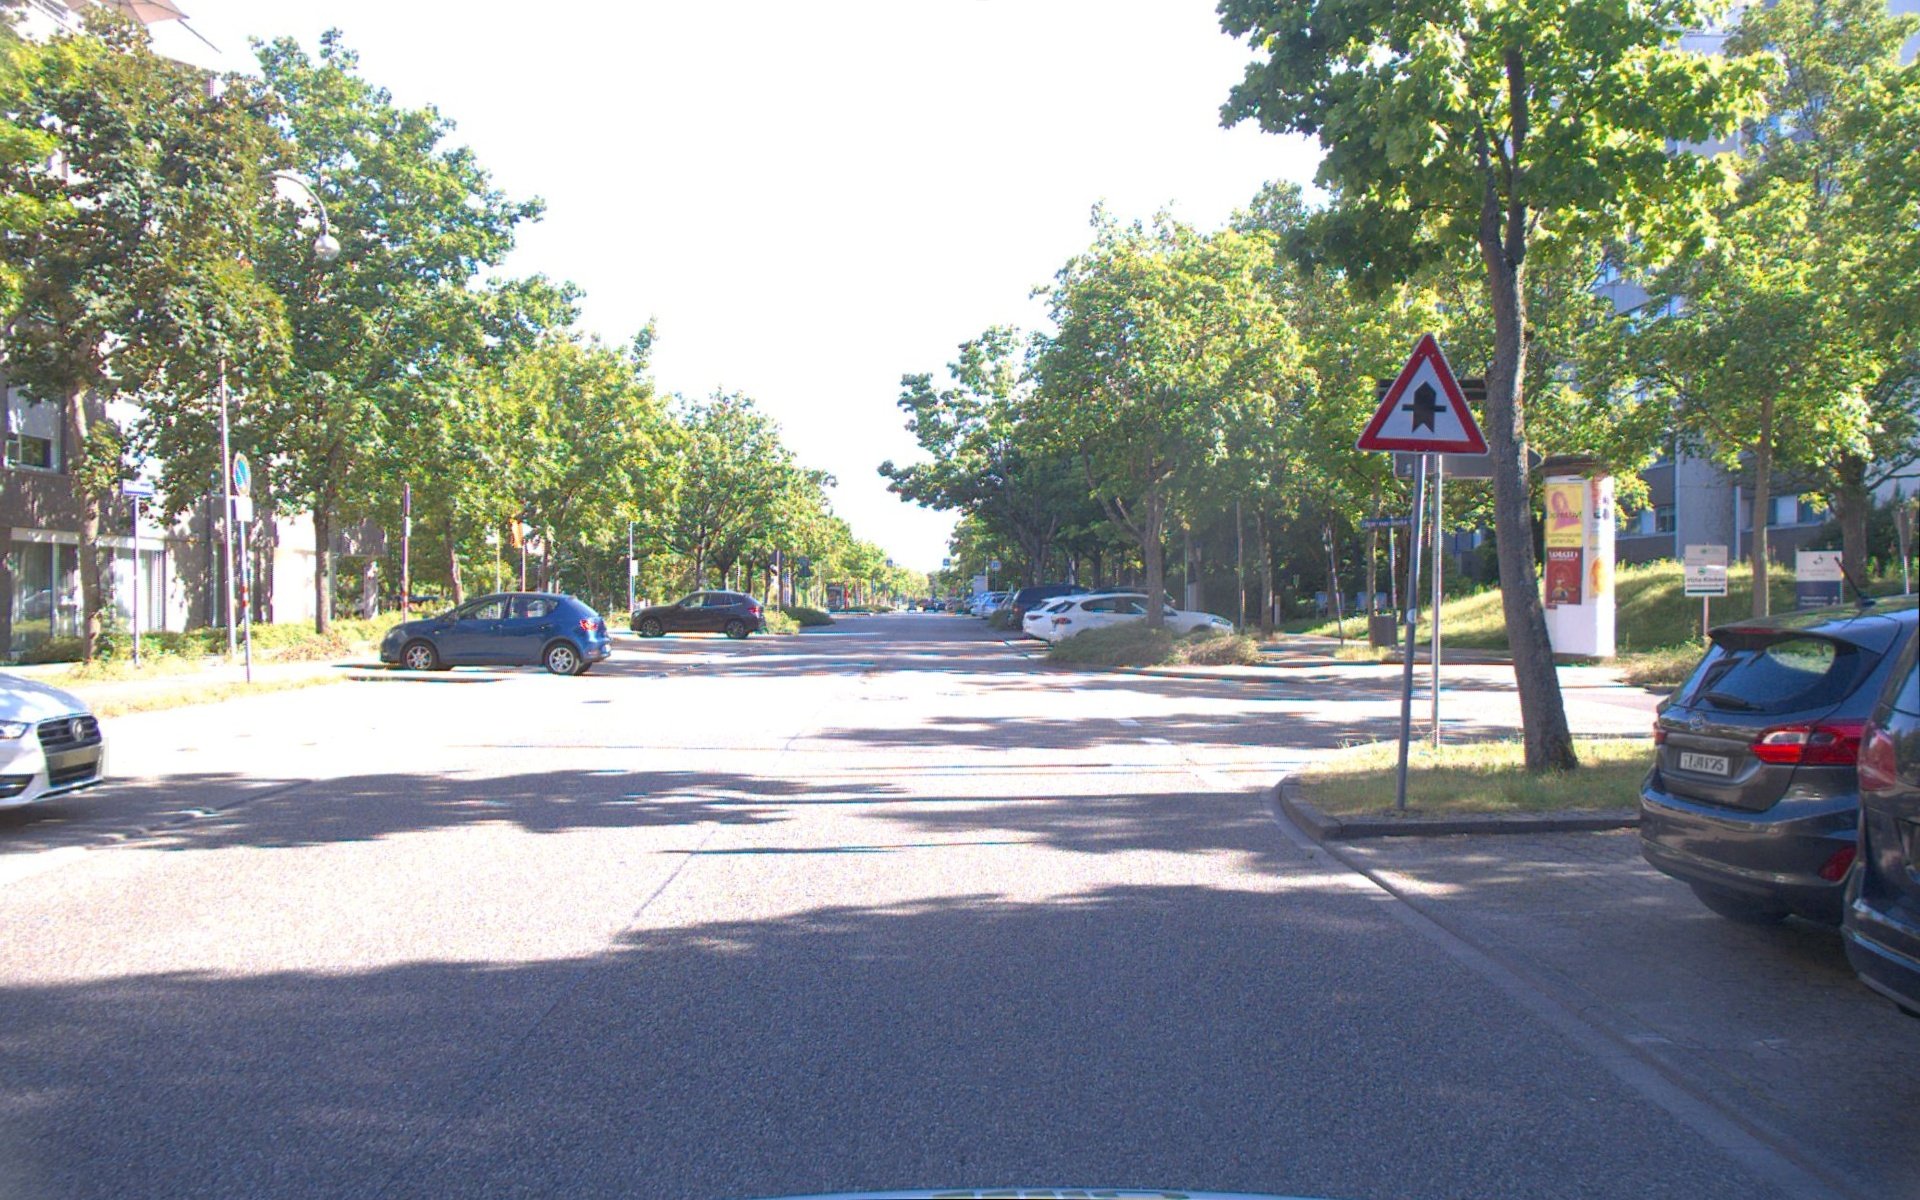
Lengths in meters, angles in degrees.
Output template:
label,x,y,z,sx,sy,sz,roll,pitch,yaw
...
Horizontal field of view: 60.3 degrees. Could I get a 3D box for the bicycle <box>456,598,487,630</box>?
label,x,y,z,sx,sy,sz,roll,pitch,yaw
bicycle,-16.695,0.462,56.514,0.428,1.066,2.192,1,0,-1

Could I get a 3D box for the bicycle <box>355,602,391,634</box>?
label,x,y,z,sx,sy,sz,roll,pitch,yaw
bicycle,-19.564,0.587,55.148,0.428,1.066,2.192,1,0,-1

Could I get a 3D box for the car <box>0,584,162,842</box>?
label,x,y,z,sx,sy,sz,roll,pitch,yaw
car,-7.593,0.648,10.479,4.172,1.506,1.799,0,0,-2

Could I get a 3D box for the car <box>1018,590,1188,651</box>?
label,x,y,z,sx,sy,sz,roll,pitch,yaw
car,3.814,0.538,44.639,4.354,1.572,1.816,1,0,-4

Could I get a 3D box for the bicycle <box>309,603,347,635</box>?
label,x,y,z,sx,sy,sz,roll,pitch,yaw
bicycle,-21.012,0.622,55.042,0.428,1.066,2.192,1,0,-1

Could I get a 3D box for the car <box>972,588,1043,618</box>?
label,x,y,z,sx,sy,sz,roll,pitch,yaw
car,3.023,0.190,105.788,4.347,1.676,1.815,-3,0,-3

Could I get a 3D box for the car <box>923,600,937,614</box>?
label,x,y,z,sx,sy,sz,roll,pitch,yaw
car,-4.479,1.026,246.962,1.953,2.049,4.000,1,1,-1

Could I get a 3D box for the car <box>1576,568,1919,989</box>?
label,x,y,z,sx,sy,sz,roll,pitch,yaw
car,4.856,0.599,7.147,3.760,1.471,1.591,-3,2,-4

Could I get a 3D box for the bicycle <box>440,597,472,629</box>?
label,x,y,z,sx,sy,sz,roll,pitch,yaw
bicycle,-17.203,0.444,56.512,0.428,1.066,2.192,1,0,-1

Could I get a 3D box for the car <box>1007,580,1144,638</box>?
label,x,y,z,sx,sy,sz,roll,pitch,yaw
car,3.935,0.307,56.720,4.494,1.810,2.000,-2,0,-1

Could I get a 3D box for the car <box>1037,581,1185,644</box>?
label,x,y,z,sx,sy,sz,roll,pitch,yaw
car,4.331,0.370,47.882,4.036,1.646,1.732,-2,-1,-3

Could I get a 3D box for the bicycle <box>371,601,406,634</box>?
label,x,y,z,sx,sy,sz,roll,pitch,yaw
bicycle,-19.039,0.583,55.159,0.428,1.066,2.192,1,0,-1

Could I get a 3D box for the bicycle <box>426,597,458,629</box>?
label,x,y,z,sx,sy,sz,roll,pitch,yaw
bicycle,-17.688,0.429,56.518,0.428,1.066,2.192,1,0,-1

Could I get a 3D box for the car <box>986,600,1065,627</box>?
label,x,y,z,sx,sy,sz,roll,pitch,yaw
car,3.538,0.729,89.134,4.185,1.453,1.828,0,0,3

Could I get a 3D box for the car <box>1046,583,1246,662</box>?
label,x,y,z,sx,sy,sz,roll,pitch,yaw
car,4.285,0.508,38.578,4.339,1.620,1.835,-2,0,-4

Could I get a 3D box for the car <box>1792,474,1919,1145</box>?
label,x,y,z,sx,sy,sz,roll,pitch,yaw
car,4.329,0.517,4.142,3.596,1.781,1.724,-1,0,1

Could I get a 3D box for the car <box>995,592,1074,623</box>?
label,x,y,z,sx,sy,sz,roll,pitch,yaw
car,3.803,0.370,84.396,3.906,1.476,1.717,-2,0,-1

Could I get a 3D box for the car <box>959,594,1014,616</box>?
label,x,y,z,sx,sy,sz,roll,pitch,yaw
car,2.044,0.372,127.431,4.080,1.453,1.999,-3,0,-1

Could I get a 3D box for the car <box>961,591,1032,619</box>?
label,x,y,z,sx,sy,sz,roll,pitch,yaw
car,2.259,0.320,103.069,4.256,1.515,1.737,-2,0,-3

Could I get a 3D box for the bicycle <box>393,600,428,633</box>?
label,x,y,z,sx,sy,sz,roll,pitch,yaw
bicycle,-18.230,0.530,54.905,0.428,1.066,2.192,1,0,-1

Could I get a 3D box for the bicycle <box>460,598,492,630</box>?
label,x,y,z,sx,sy,sz,roll,pitch,yaw
bicycle,-16.100,0.458,55.010,0.428,1.066,2.192,1,0,-1

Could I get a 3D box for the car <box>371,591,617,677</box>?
label,x,y,z,sx,sy,sz,roll,pitch,yaw
car,-8.210,0.588,29.433,3.909,1.436,1.815,1,0,-5

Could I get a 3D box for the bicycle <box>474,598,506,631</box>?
label,x,y,z,sx,sy,sz,roll,pitch,yaw
bicycle,-15.627,0.463,55.028,0.428,1.066,2.192,1,0,-1

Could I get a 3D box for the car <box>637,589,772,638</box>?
label,x,y,z,sx,sy,sz,roll,pitch,yaw
car,-8.326,0.434,54.093,4.107,1.546,1.772,1,0,-1
